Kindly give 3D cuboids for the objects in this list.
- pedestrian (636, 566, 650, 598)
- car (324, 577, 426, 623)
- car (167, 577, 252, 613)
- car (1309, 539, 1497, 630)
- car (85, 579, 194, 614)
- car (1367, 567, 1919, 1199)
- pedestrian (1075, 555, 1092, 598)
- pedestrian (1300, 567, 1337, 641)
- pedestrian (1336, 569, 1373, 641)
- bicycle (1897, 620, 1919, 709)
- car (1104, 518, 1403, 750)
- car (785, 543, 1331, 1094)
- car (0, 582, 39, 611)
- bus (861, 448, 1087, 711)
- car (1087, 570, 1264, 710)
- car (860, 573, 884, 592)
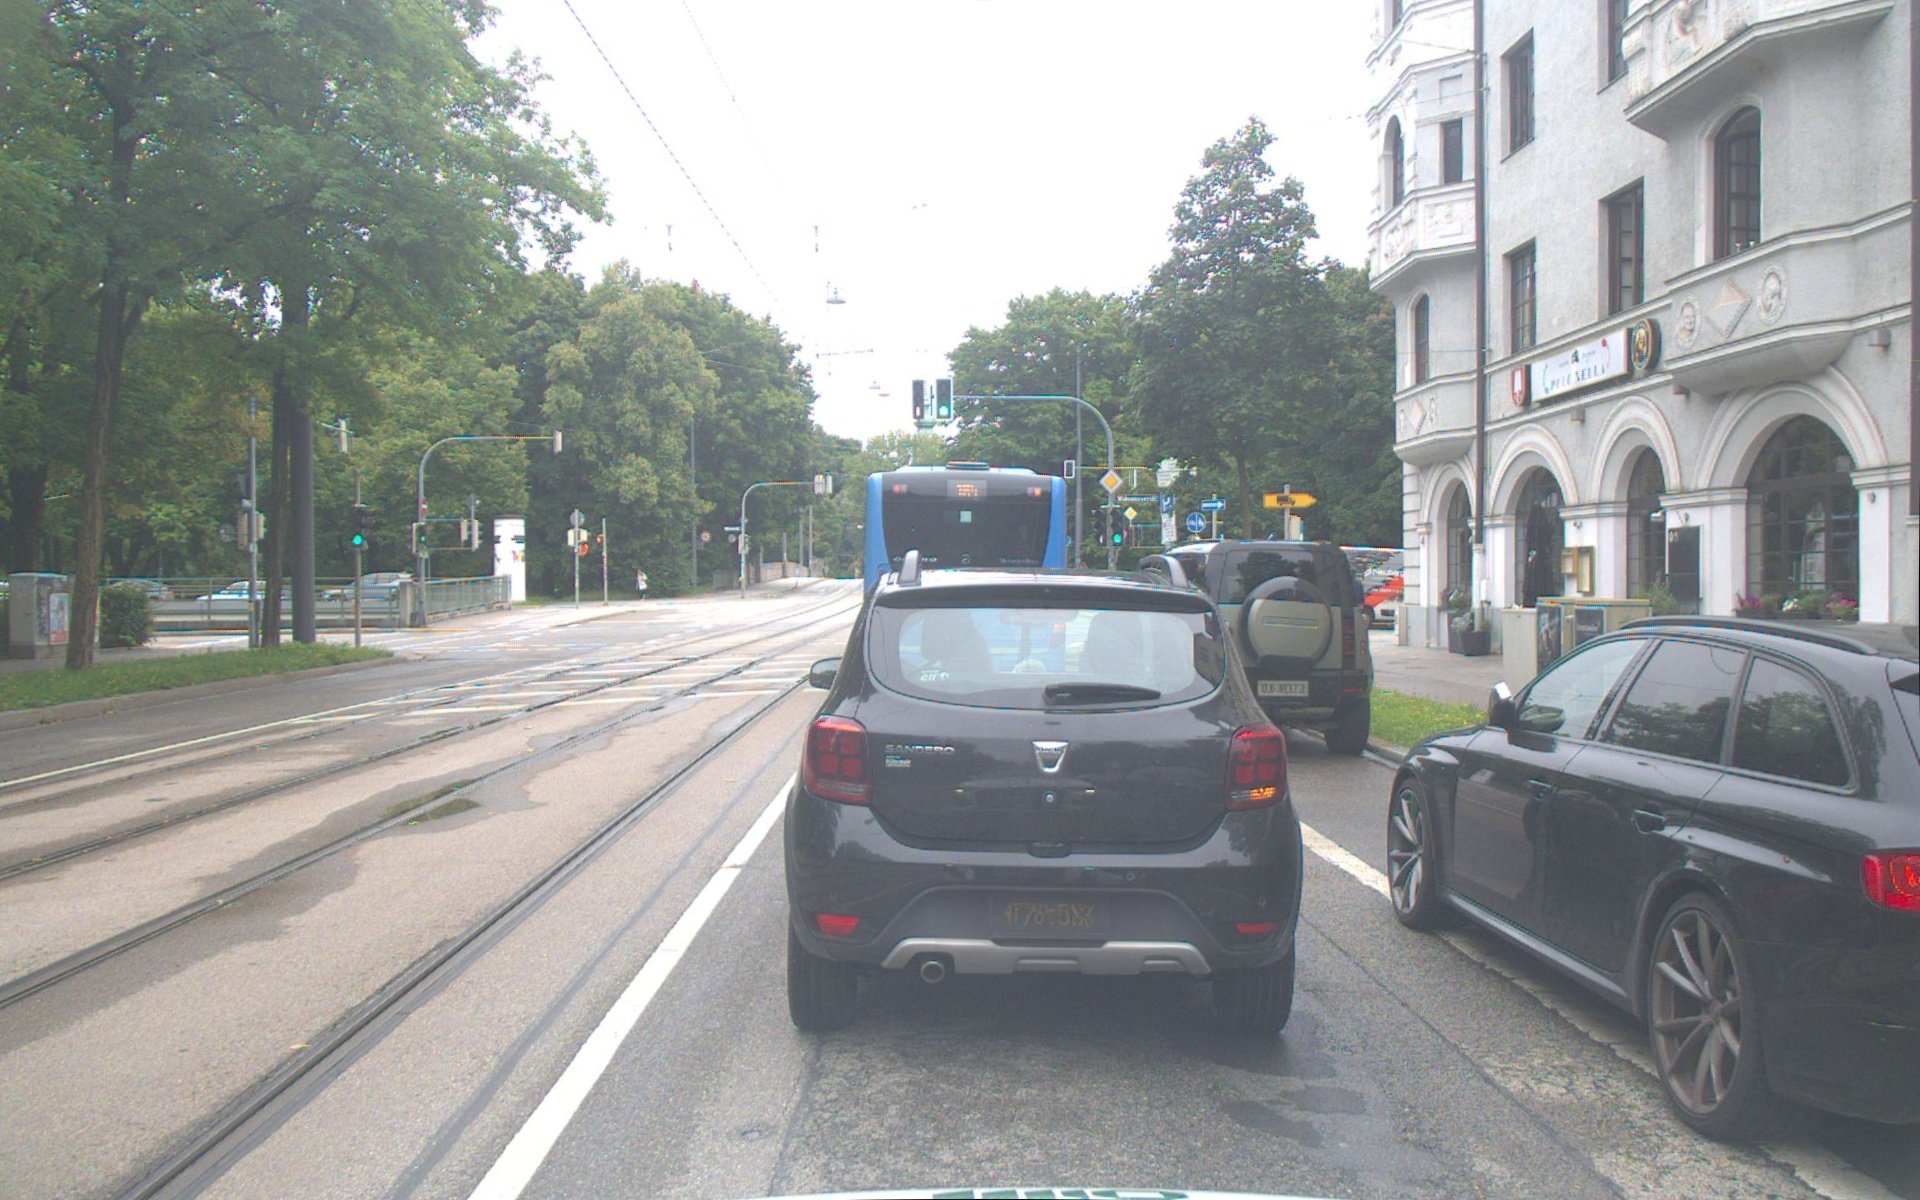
[{"bbox_3d":[-15.596,-0.884,81.321,0.520,1.527,0.588,1,0,4],"label":"pedestrian"},{"bbox_3d":[-25.754,0.006,72.906,3.946,1.920,1.488,1,0,-8],"label":"car"},{"bbox_3d":[-32.647,-0.209,71.984,3.050,1.477,1.249,1,0,-6],"label":"car"},{"bbox_3d":[13.773,-0.471,51.643,5.191,2.658,2.229,1,0,-4],"label":"car"},{"bbox_3d":[-35.621,-0.161,71.881,3.848,1.429,1.719,1,0,-5],"label":"car"},{"bbox_3d":[2.910,0.662,5.854,1.681,1.451,4.601,1,0,-1],"label":"car"},{"bbox_3d":[6.329,-1.208,84.859,0.747,2.153,0.853,-1,1,-1],"label":"pedestrian"},{"bbox_3d":[9.109,0.088,42.067,0.690,1.848,0.869,1,0,-1],"label":"pedestrian"},{"bbox_3d":[9.926,0.118,41.618,0.690,1.762,0.843,1,0,-1],"label":"pedestrian"},{"bbox_3d":[10.455,0.697,17.778,0.254,0.947,0.886,1,0,0],"label":"bicycle"},{"bbox_3d":[2.725,0.284,16.543,1.876,1.939,4.805,1,0,-3],"label":"car"},{"bbox_3d":[0.253,0.636,6.607,1.568,1.584,3.524,1,0,-1],"label":"car"},{"bbox_3d":[-41.925,-0.173,71.260,3.656,1.206,1.249,1,0,-6],"label":"car"},{"bbox_3d":[0.016,-0.256,23.121,2.625,3.050,6.957,1,0,-3],"label":"bus"},{"bbox_3d":[2.724,0.462,21.779,1.679,1.619,4.326,1,0,-1],"label":"car"},{"bbox_3d":[-6.669,-1.293,125.284,1.752,1.394,3.399,1,0,-2],"label":"car"}]
